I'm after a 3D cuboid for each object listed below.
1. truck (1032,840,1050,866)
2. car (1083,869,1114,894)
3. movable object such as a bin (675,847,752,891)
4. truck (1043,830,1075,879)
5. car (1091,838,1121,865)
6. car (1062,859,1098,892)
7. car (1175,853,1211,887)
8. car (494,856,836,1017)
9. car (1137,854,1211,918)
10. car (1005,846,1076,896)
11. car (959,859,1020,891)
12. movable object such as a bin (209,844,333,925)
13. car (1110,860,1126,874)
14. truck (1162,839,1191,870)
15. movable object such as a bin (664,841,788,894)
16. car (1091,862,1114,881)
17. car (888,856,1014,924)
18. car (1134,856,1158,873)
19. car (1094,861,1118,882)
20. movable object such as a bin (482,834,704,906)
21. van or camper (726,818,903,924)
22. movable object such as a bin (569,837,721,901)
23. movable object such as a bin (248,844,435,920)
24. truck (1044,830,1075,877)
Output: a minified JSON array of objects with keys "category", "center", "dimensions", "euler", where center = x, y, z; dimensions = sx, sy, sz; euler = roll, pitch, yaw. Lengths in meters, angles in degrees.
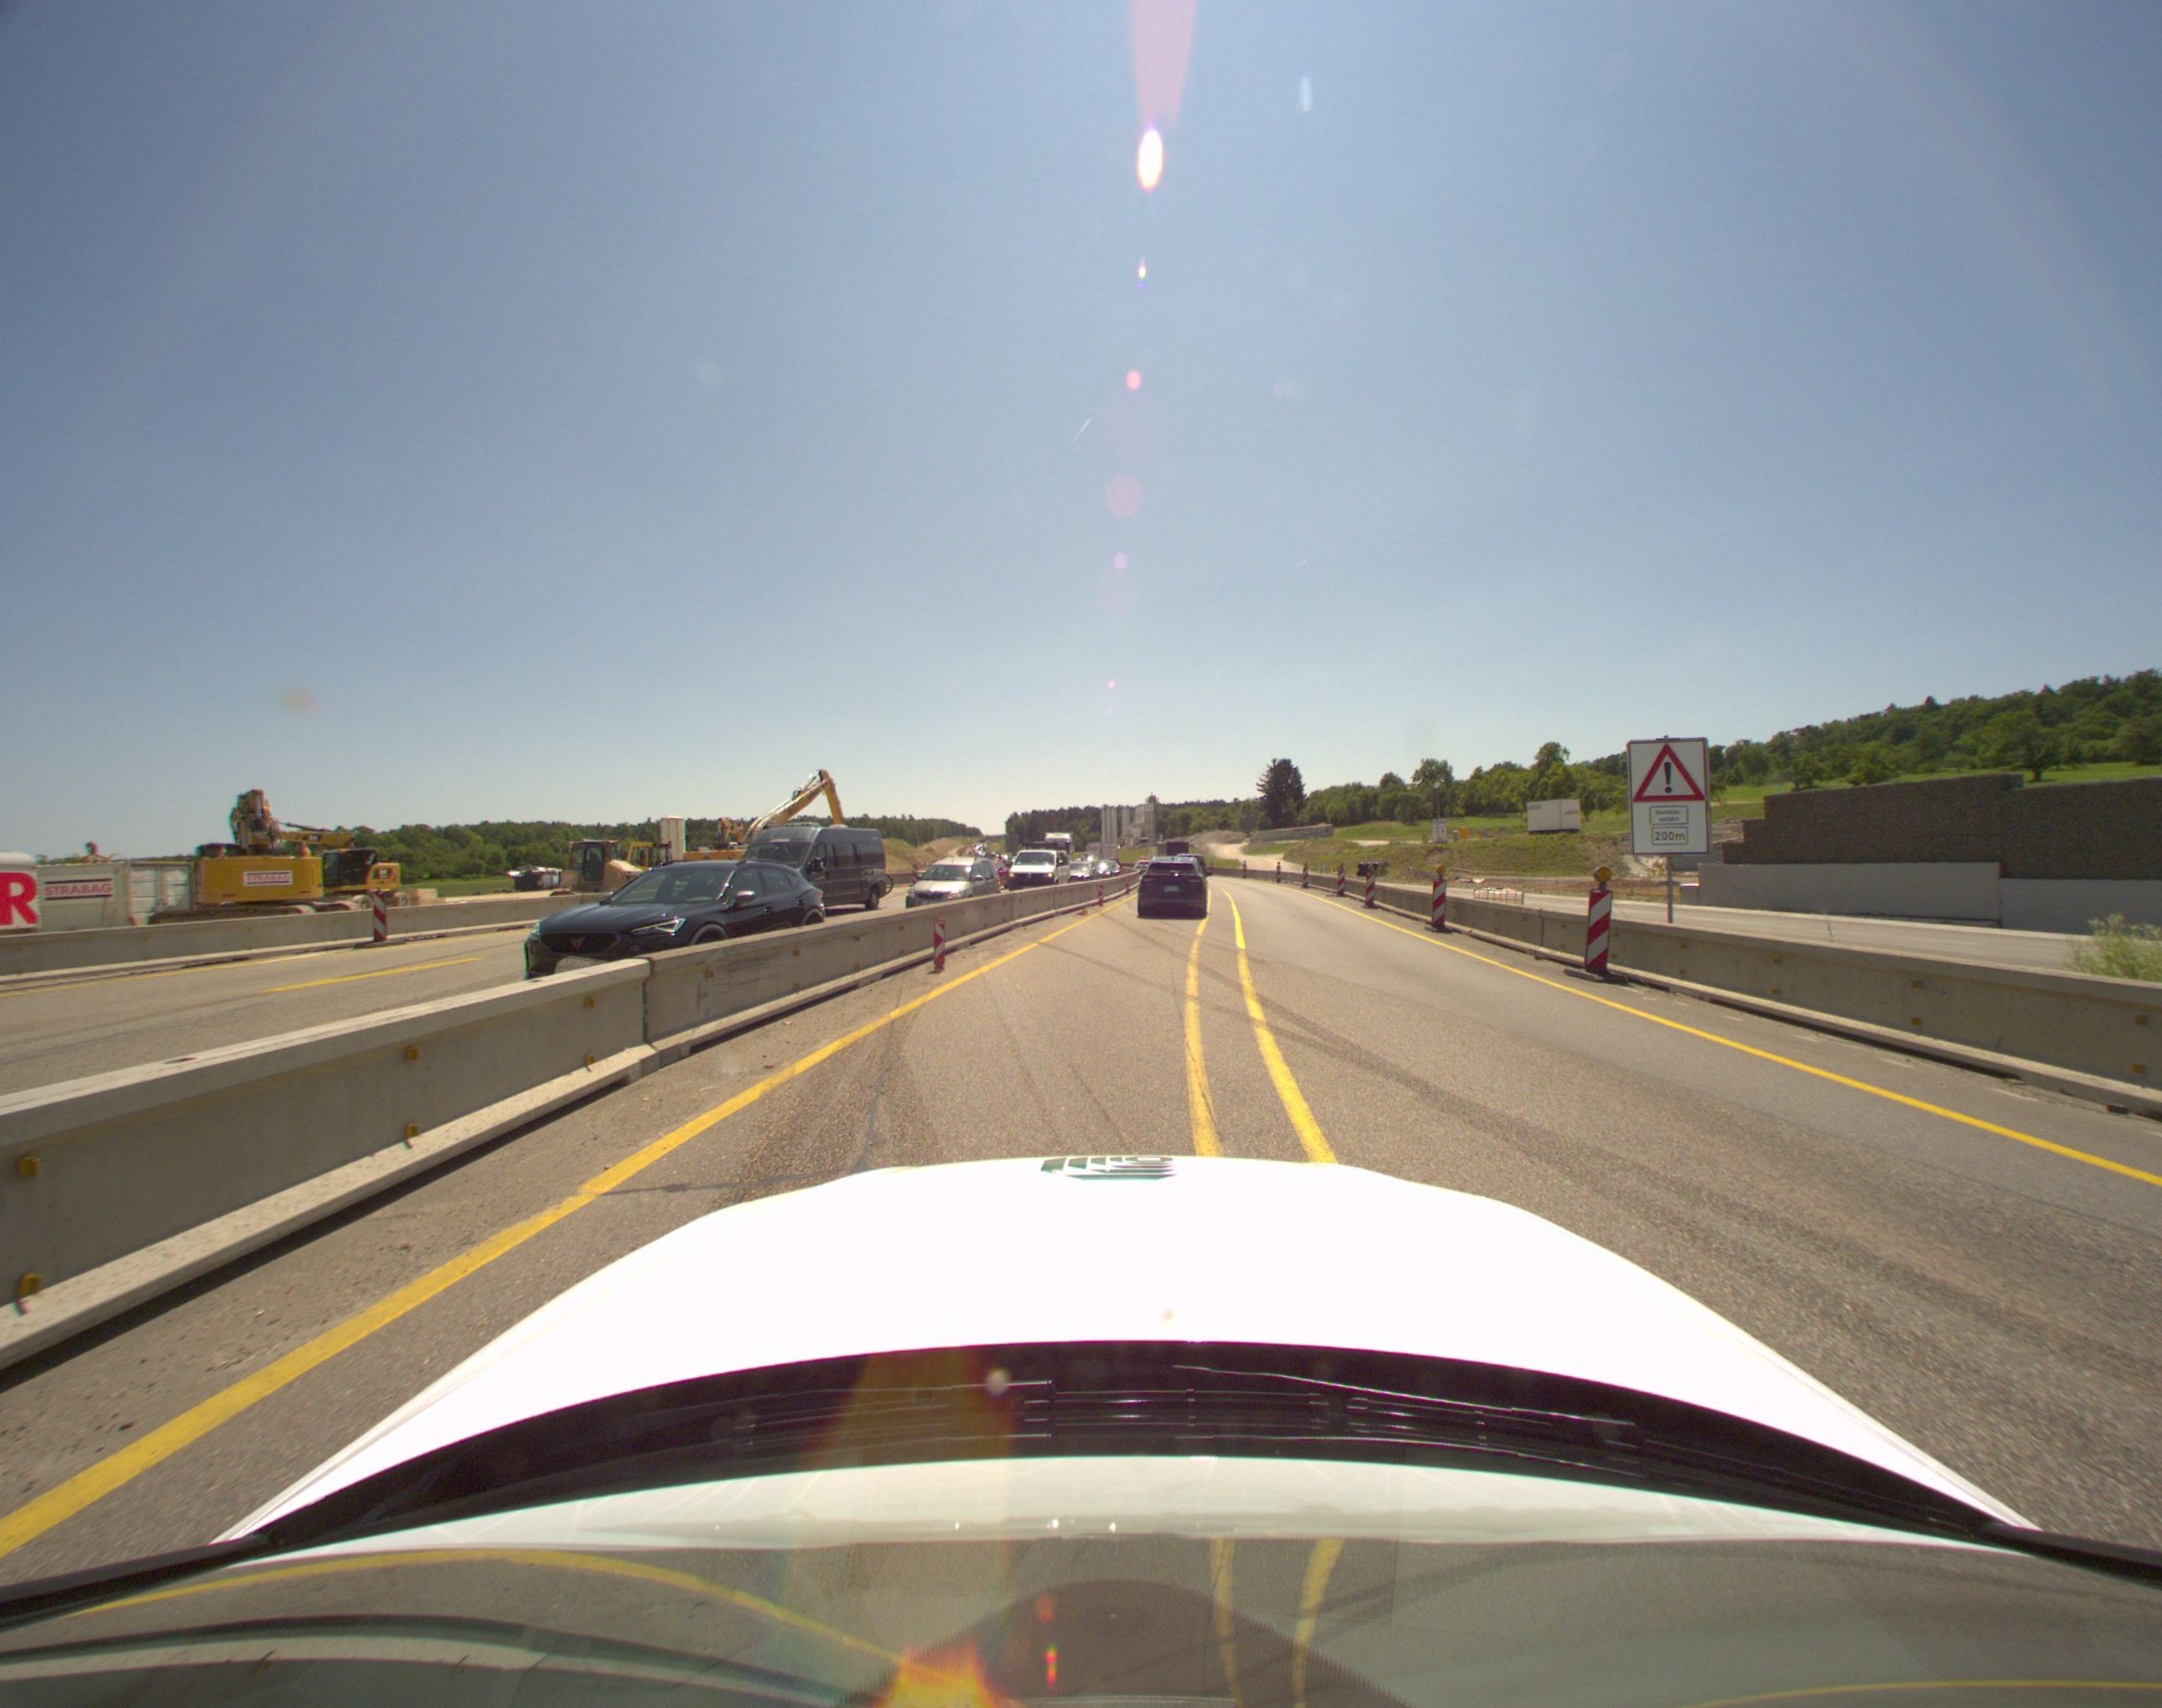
[{"category":"truck","center":[-6.775,-0.145,136.488],"dimensions":[2.767,4.137,10.856],"euler":[-1,0,-4]},{"category":"car","center":[1.147,1.731,52.077],"dimensions":[1.718,1.408,4.134],"euler":[0,0,4]},{"category":"movable object such as a bin","center":[-28.517,1.112,63.508],"dimensions":[3.655,3.025,4.989],"euler":[-2,2,-2]},{"category":"truck","center":[-1.980,0.004,74.833],"dimensions":[2.763,4.260,6.196],"euler":[-1,0,-1]},{"category":"car","center":[3.870,-0.365,129.528],"dimensions":[3.432,4.101,9.176],"euler":[2,0,-7]},{"category":"car","center":[-0.001,1.113,43.582],"dimensions":[1.502,1.604,3.959],"euler":[1,0,5]},{"category":"car","center":[6.502,0.878,47.590],"dimensions":[1.983,1.844,4.008],"euler":[-1,0,7]},{"category":"car","center":[-4.802,0.826,10.295],"dimensions":[1.682,1.481,4.476],"euler":[-3,0,4]},{"category":"car","center":[2.619,0.809,22.767],"dimensions":[1.832,1.582,4.008],"euler":[1,0,7]},{"category":"car","center":[-1.574,0.638,33.585],"dimensions":[1.861,1.873,5.071],"euler":[1,0,9]},{"category":"car","center":[-4.593,1.029,41.771],"dimensions":[1.982,1.501,4.664],"euler":[1,0,8]},{"category":"movable object such as a bin","center":[-29.699,1.043,29.872],"dimensions":[3.319,2.727,2.898],"euler":[1,0,40]},{"category":"car","center":[4.772,1.666,105.219],"dimensions":[1.816,1.644,3.862],"euler":[0,0,-3]},{"category":"truck","center":[9.792,0.048,83.898],"dimensions":[2.661,2.945,5.626],"euler":[-2,0,4]},{"category":"movable object such as a bin","center":[-17.942,0.635,41.573],"dimensions":[3.271,2.440,5.455],"euler":[1,0,10]},{"category":"car","center":[1.748,1.401,67.217],"dimensions":[1.673,1.444,4.549],"euler":[0,0,-2]},{"category":"car","center":[-3.394,0.889,22.176],"dimensions":[1.744,1.616,4.246],"euler":[0,0,16]},{"category":"car","center":[6.422,1.013,80.779],"dimensions":[2.038,1.526,5.068],"euler":[-2,0,2]},{"category":"car","center":[1.873,1.299,60.236],"dimensions":[1.649,1.453,4.250],"euler":[0,0,2]},{"category":"movable object such as a bin","center":[-19.003,0.540,31.697],"dimensions":[7.831,2.432,3.740],"euler":[1,0,27]},{"category":"van or camper","center":[-7.343,0.427,23.408],"dimensions":[2.086,2.541,6.321],"euler":[-2,0,9]},{"category":"movable object such as a bin","center":[-20.369,0.640,38.126],"dimensions":[6.002,2.763,2.824],"euler":[1,0,17]},{"category":"movable object such as a bin","center":[-34.313,1.200,38.160],"dimensions":[3.787,3.256,5.549],"euler":[1,0,-4]},{"category":"truck","center":[-2.061,-0.027,80.101],"dimensions":[2.765,4.277,11.774],"euler":[-1,0,-1]}]
